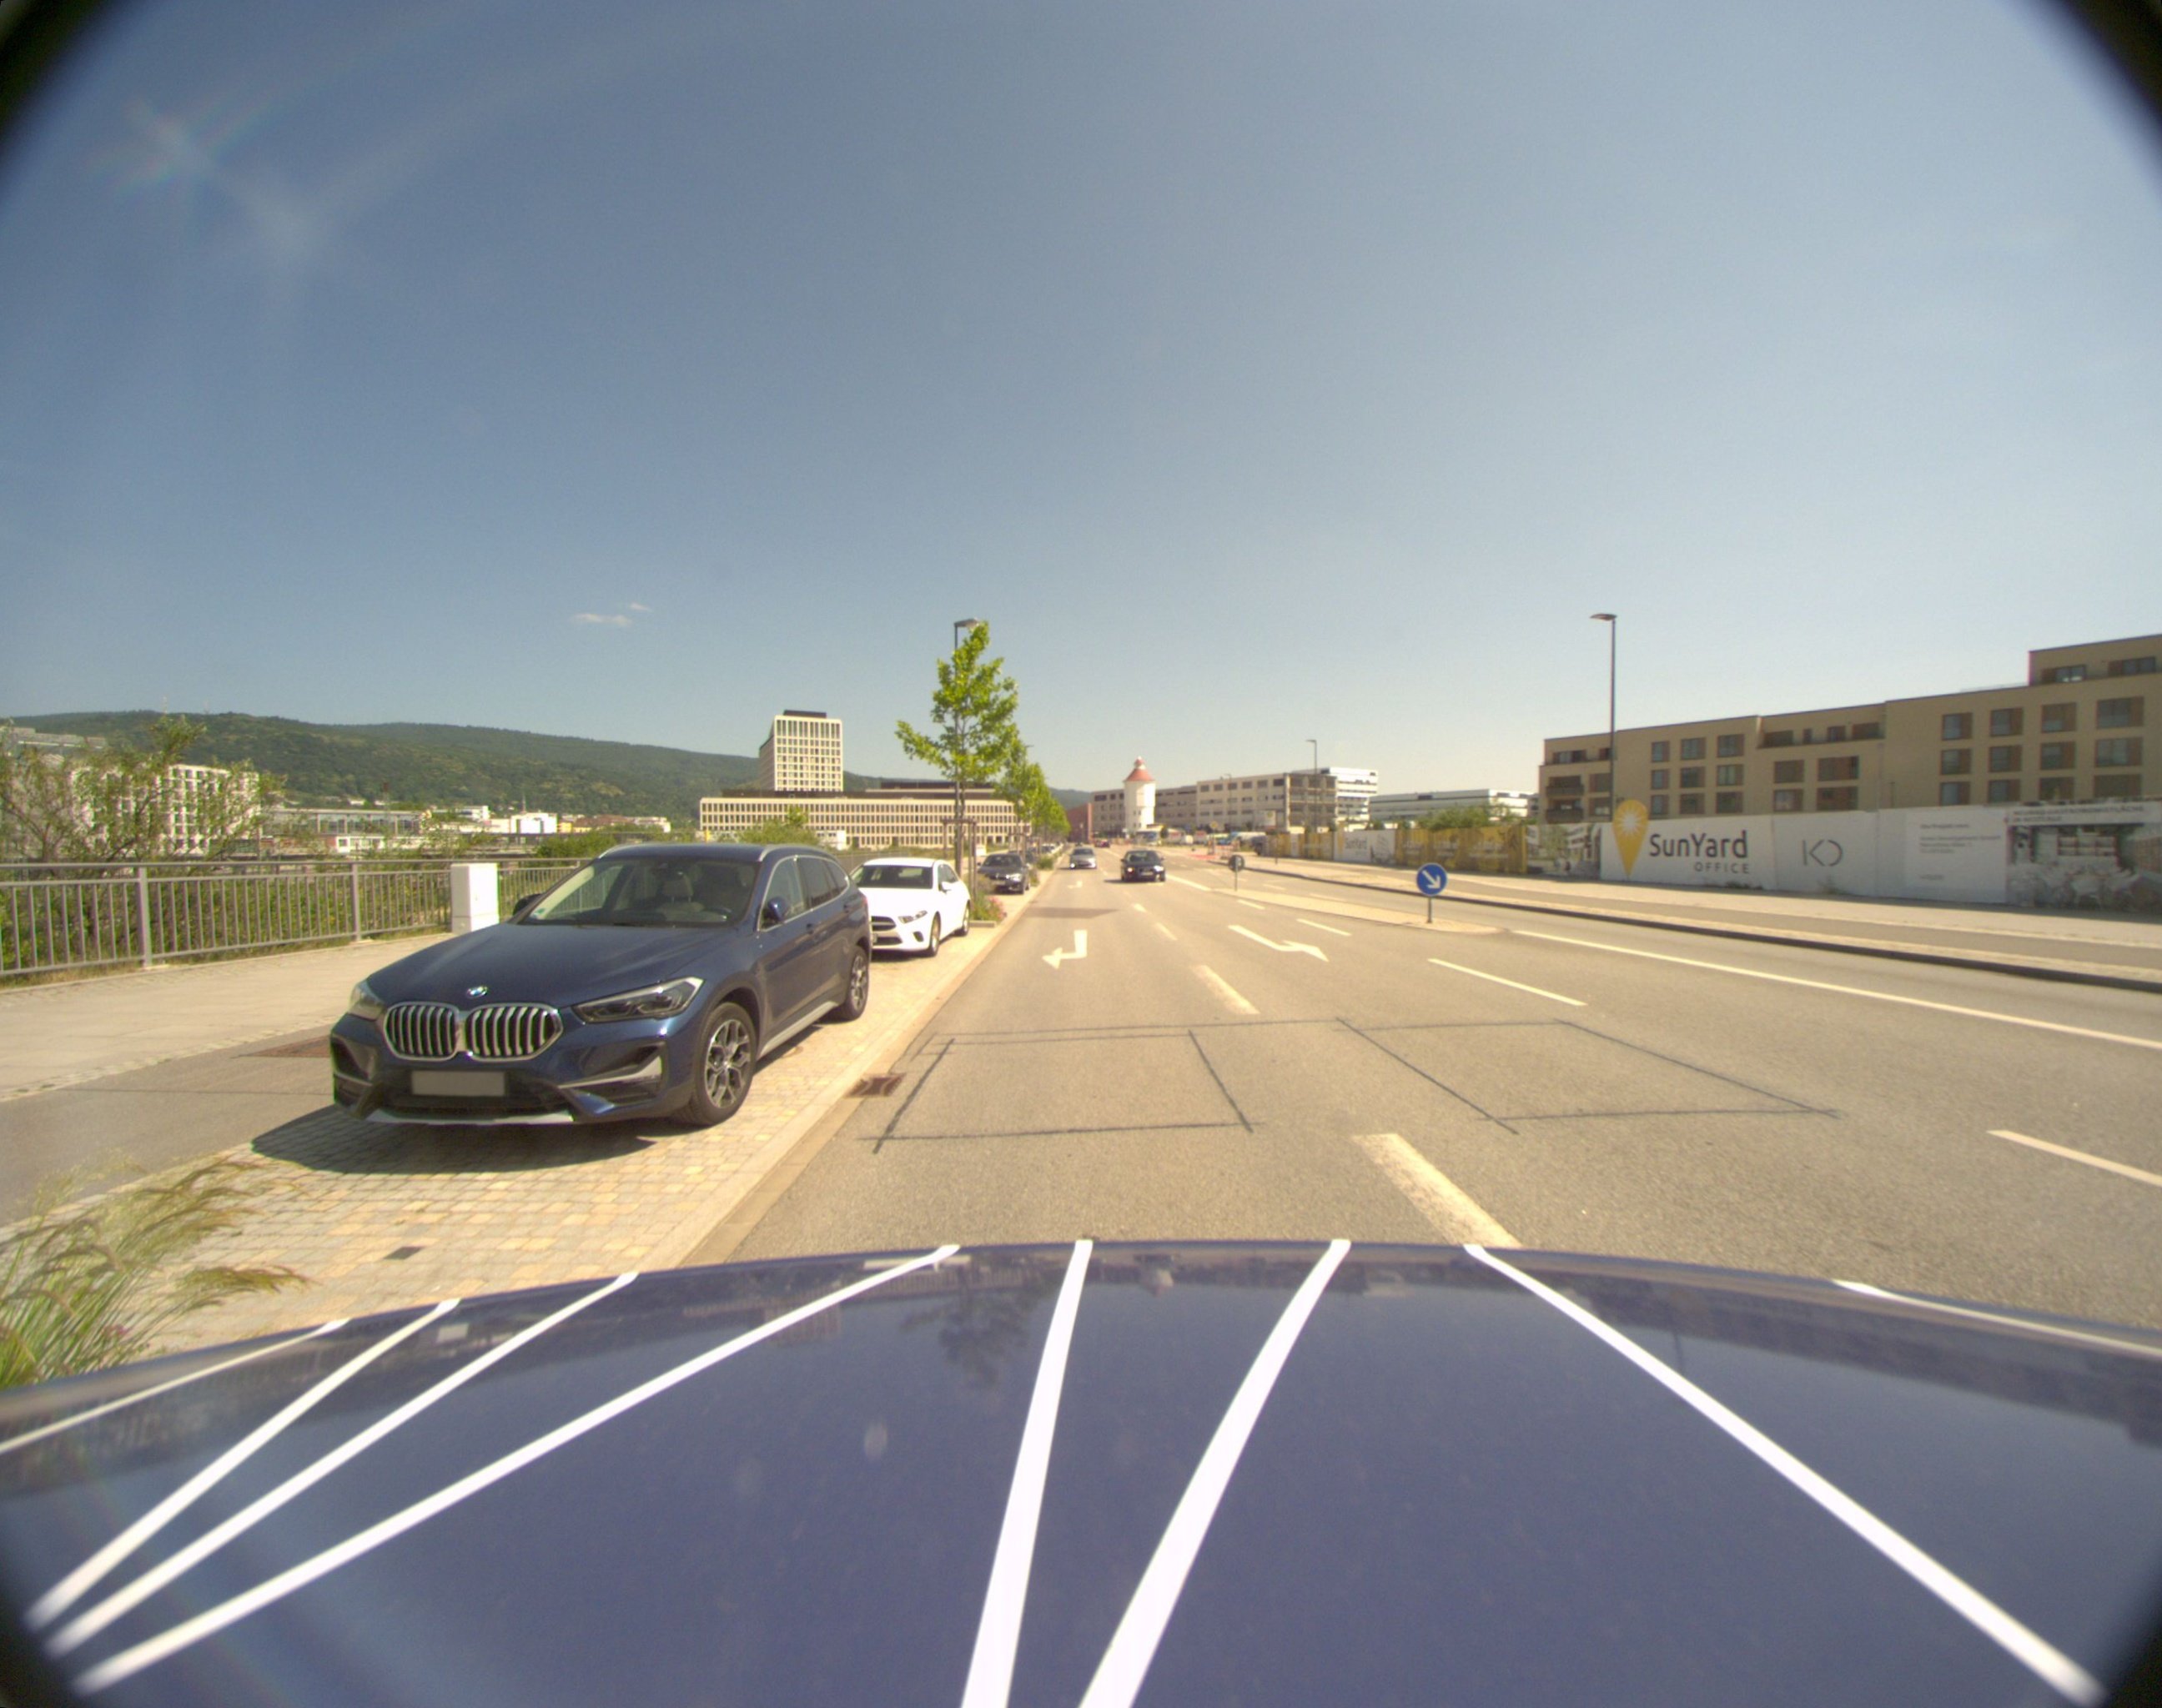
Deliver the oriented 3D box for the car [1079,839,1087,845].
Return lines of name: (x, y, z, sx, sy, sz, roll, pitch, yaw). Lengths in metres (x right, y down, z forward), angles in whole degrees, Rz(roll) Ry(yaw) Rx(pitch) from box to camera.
car: (0.567, -3.508, 217.861, 1.819, 1.458, 4.347, -3, 1, 2)

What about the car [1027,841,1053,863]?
car: (-3.267, -0.173, 61.032, 1.768, 1.609, 3.374, -3, 1, 0)

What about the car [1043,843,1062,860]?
car: (-2.664, -0.279, 70.746, 1.526, 1.482, 3.504, -3, 1, 0)

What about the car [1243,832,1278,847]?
car: (22.787, -1.859, 96.503, 3.930, 1.708, 1.891, -3, 1, -5)

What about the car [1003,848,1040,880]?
car: (-2.951, 0.469, 38.176, 1.569, 1.465, 3.006, 2, 1, 0)

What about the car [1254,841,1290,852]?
car: (19.591, -0.773, 78.114, 3.359, 0.947, 1.293, -2, 1, 3)

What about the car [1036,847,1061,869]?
car: (-2.148, 0.235, 50.442, 1.490, 1.302, 3.154, 2, 1, 0)

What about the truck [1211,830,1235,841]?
truck: (34.626, -4.572, 185.273, 5.412, 2.461, 1.999, -2, 1, -2)

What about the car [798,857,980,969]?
car: (-2.895, 0.809, 12.436, 1.710, 1.366, 4.270, 2, 1, 2)

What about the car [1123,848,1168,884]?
car: (2.846, 0.498, 34.318, 1.709, 1.404, 3.999, -3, 1, 1)

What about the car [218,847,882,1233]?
car: (-2.924, 0.817, 5.527, 1.808, 1.674, 4.270, 1, 1, 0)

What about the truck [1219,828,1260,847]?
truck: (23.617, -2.448, 113.357, 5.633, 2.461, 1.999, -3, 1, -4)

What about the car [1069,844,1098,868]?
car: (0.210, 0.114, 52.067, 1.820, 1.459, 4.346, -2, 1, 1)

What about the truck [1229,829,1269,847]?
truck: (23.343, -2.247, 105.824, 5.005, 2.215, 1.999, -2, 1, -1)

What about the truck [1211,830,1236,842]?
truck: (33.357, -4.165, 177.525, 5.333, 2.461, 1.999, -3, 1, -4)

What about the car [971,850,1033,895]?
car: (-2.810, 0.633, 27.817, 1.808, 1.424, 3.915, 2, 1, 0)
